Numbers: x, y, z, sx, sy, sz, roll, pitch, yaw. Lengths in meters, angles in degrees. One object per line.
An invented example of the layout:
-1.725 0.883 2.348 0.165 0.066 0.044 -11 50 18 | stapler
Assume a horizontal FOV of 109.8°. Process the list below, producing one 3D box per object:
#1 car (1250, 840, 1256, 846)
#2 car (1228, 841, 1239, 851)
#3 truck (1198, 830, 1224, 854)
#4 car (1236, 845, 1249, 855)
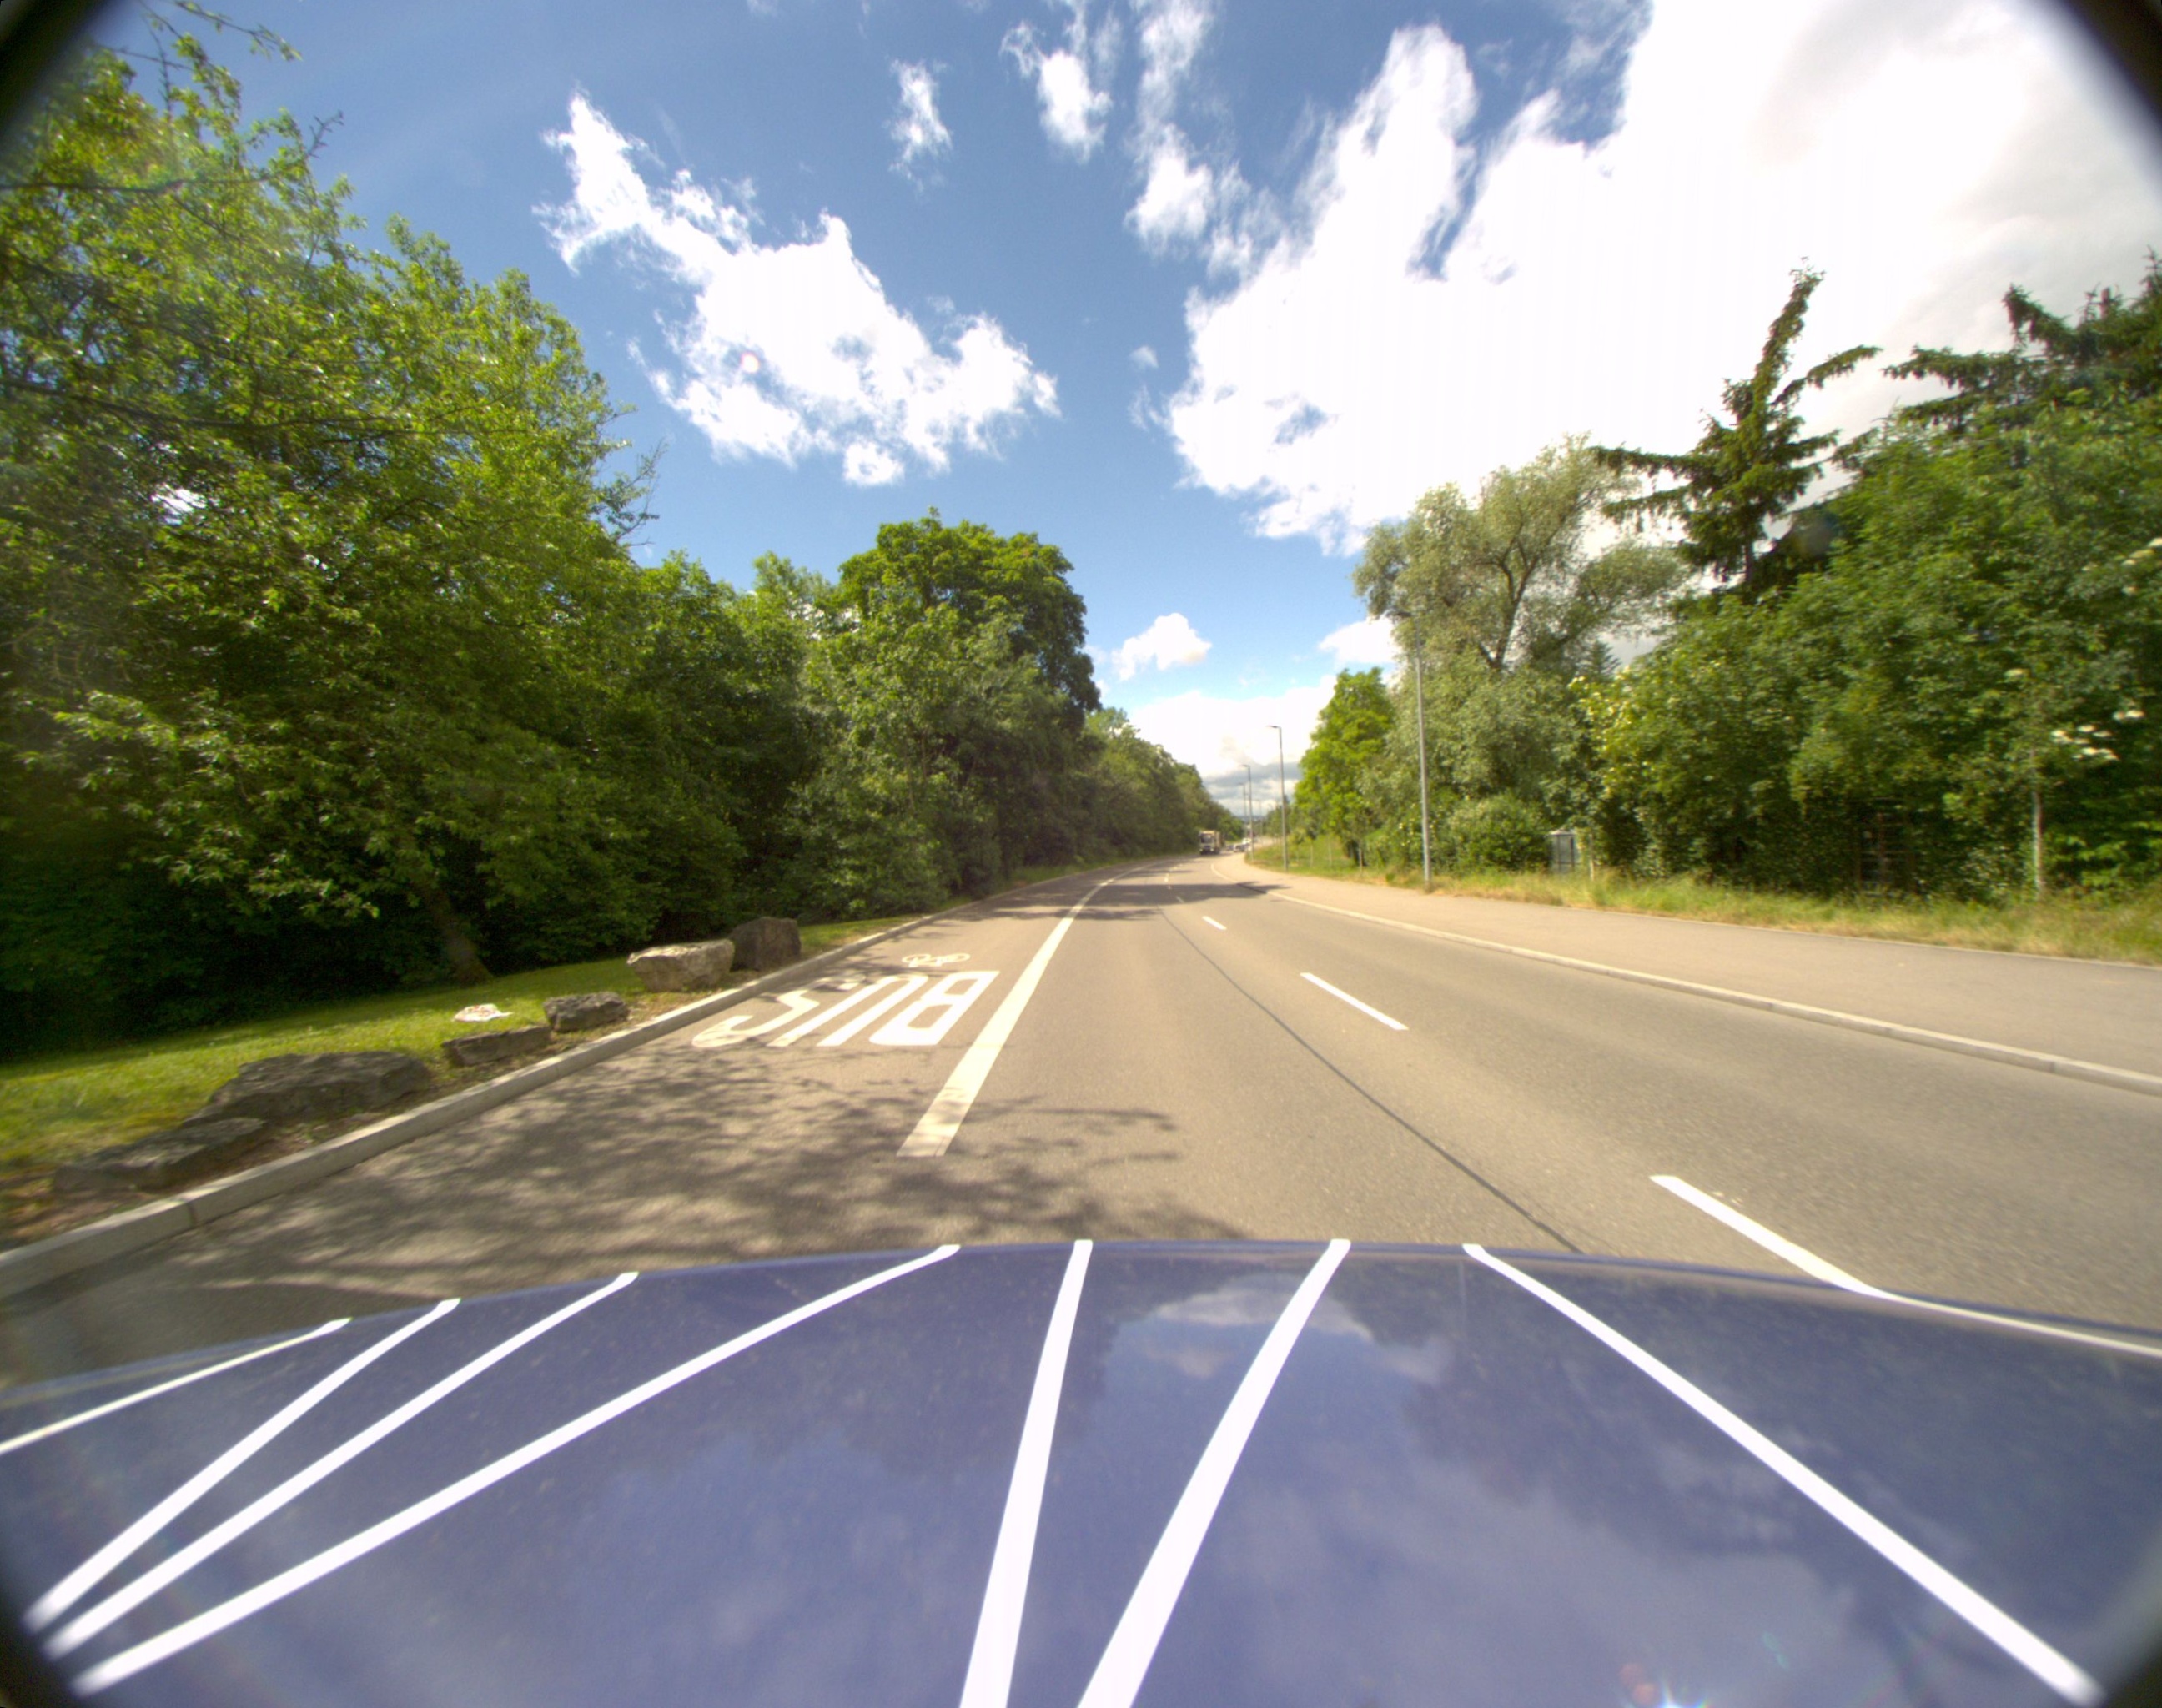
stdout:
57.001 -3.694 251.620 1.996 2.002 4.004 -2 0 14 | car
31.998 -1.588 159.316 1.996 2.002 4.004 -1 1 15 | car
21.718 -2.035 126.419 3.237 3.838 9.883 -1 1 16 | truck
28.520 -0.772 134.278 1.801 1.652 4.005 -1 1 18 | car
